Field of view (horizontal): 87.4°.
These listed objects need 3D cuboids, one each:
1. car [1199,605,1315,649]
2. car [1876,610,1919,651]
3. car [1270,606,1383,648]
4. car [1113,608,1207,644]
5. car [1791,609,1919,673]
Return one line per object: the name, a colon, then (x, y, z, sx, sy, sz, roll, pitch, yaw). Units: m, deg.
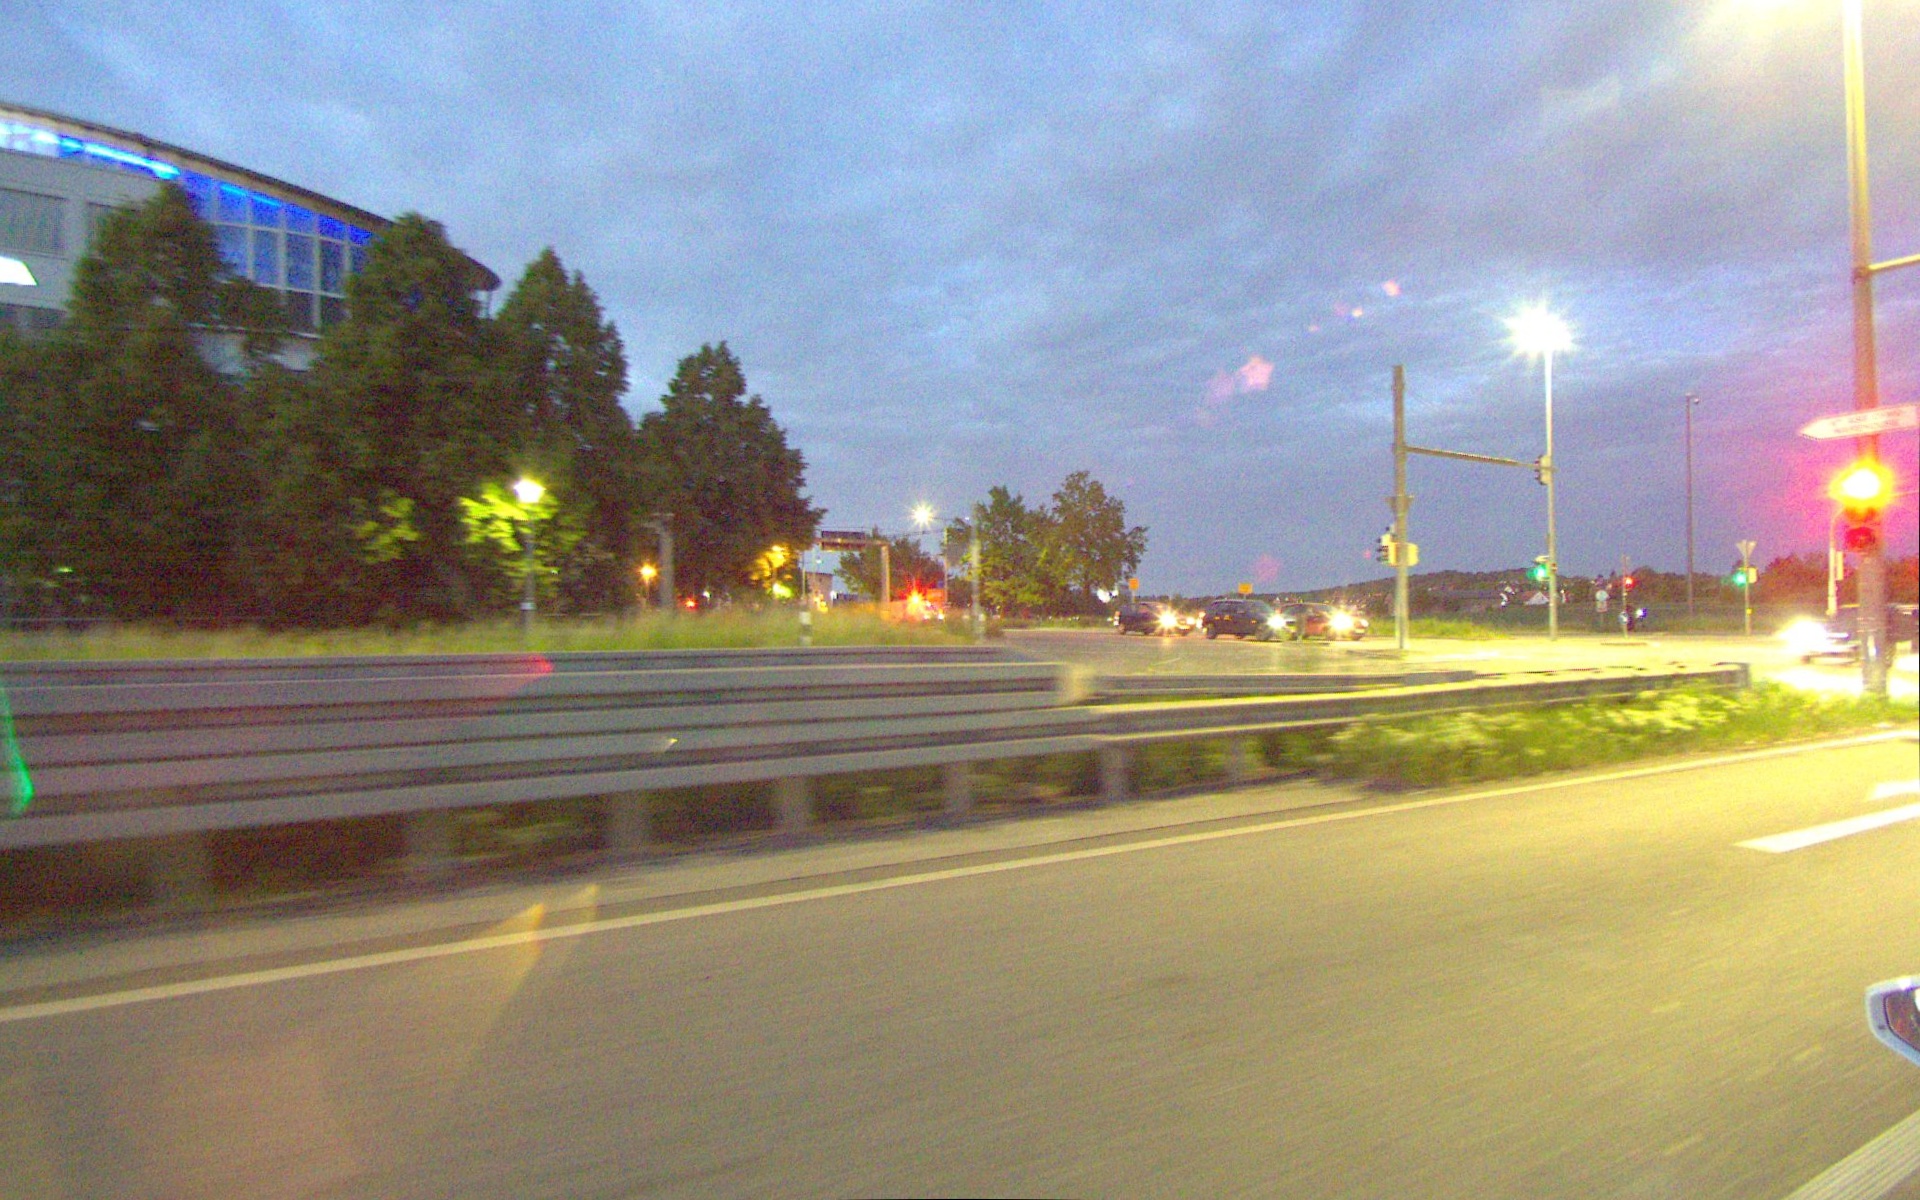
car: (11.230, 1.026, 38.258, 1.709, 1.558, 4.292, 1, -1, -30)
car: (35.478, 1.081, 36.569, 4.480, 1.444, 1.984, 0, 0, -31)
car: (14.478, 1.050, 39.866, 1.710, 1.558, 4.019, 1, -1, -32)
car: (8.644, 1.110, 43.751, 1.712, 1.493, 3.961, 1, -1, -35)
car: (23.537, 0.984, 25.789, 4.628, 1.501, 1.984, 0, 0, -31)
